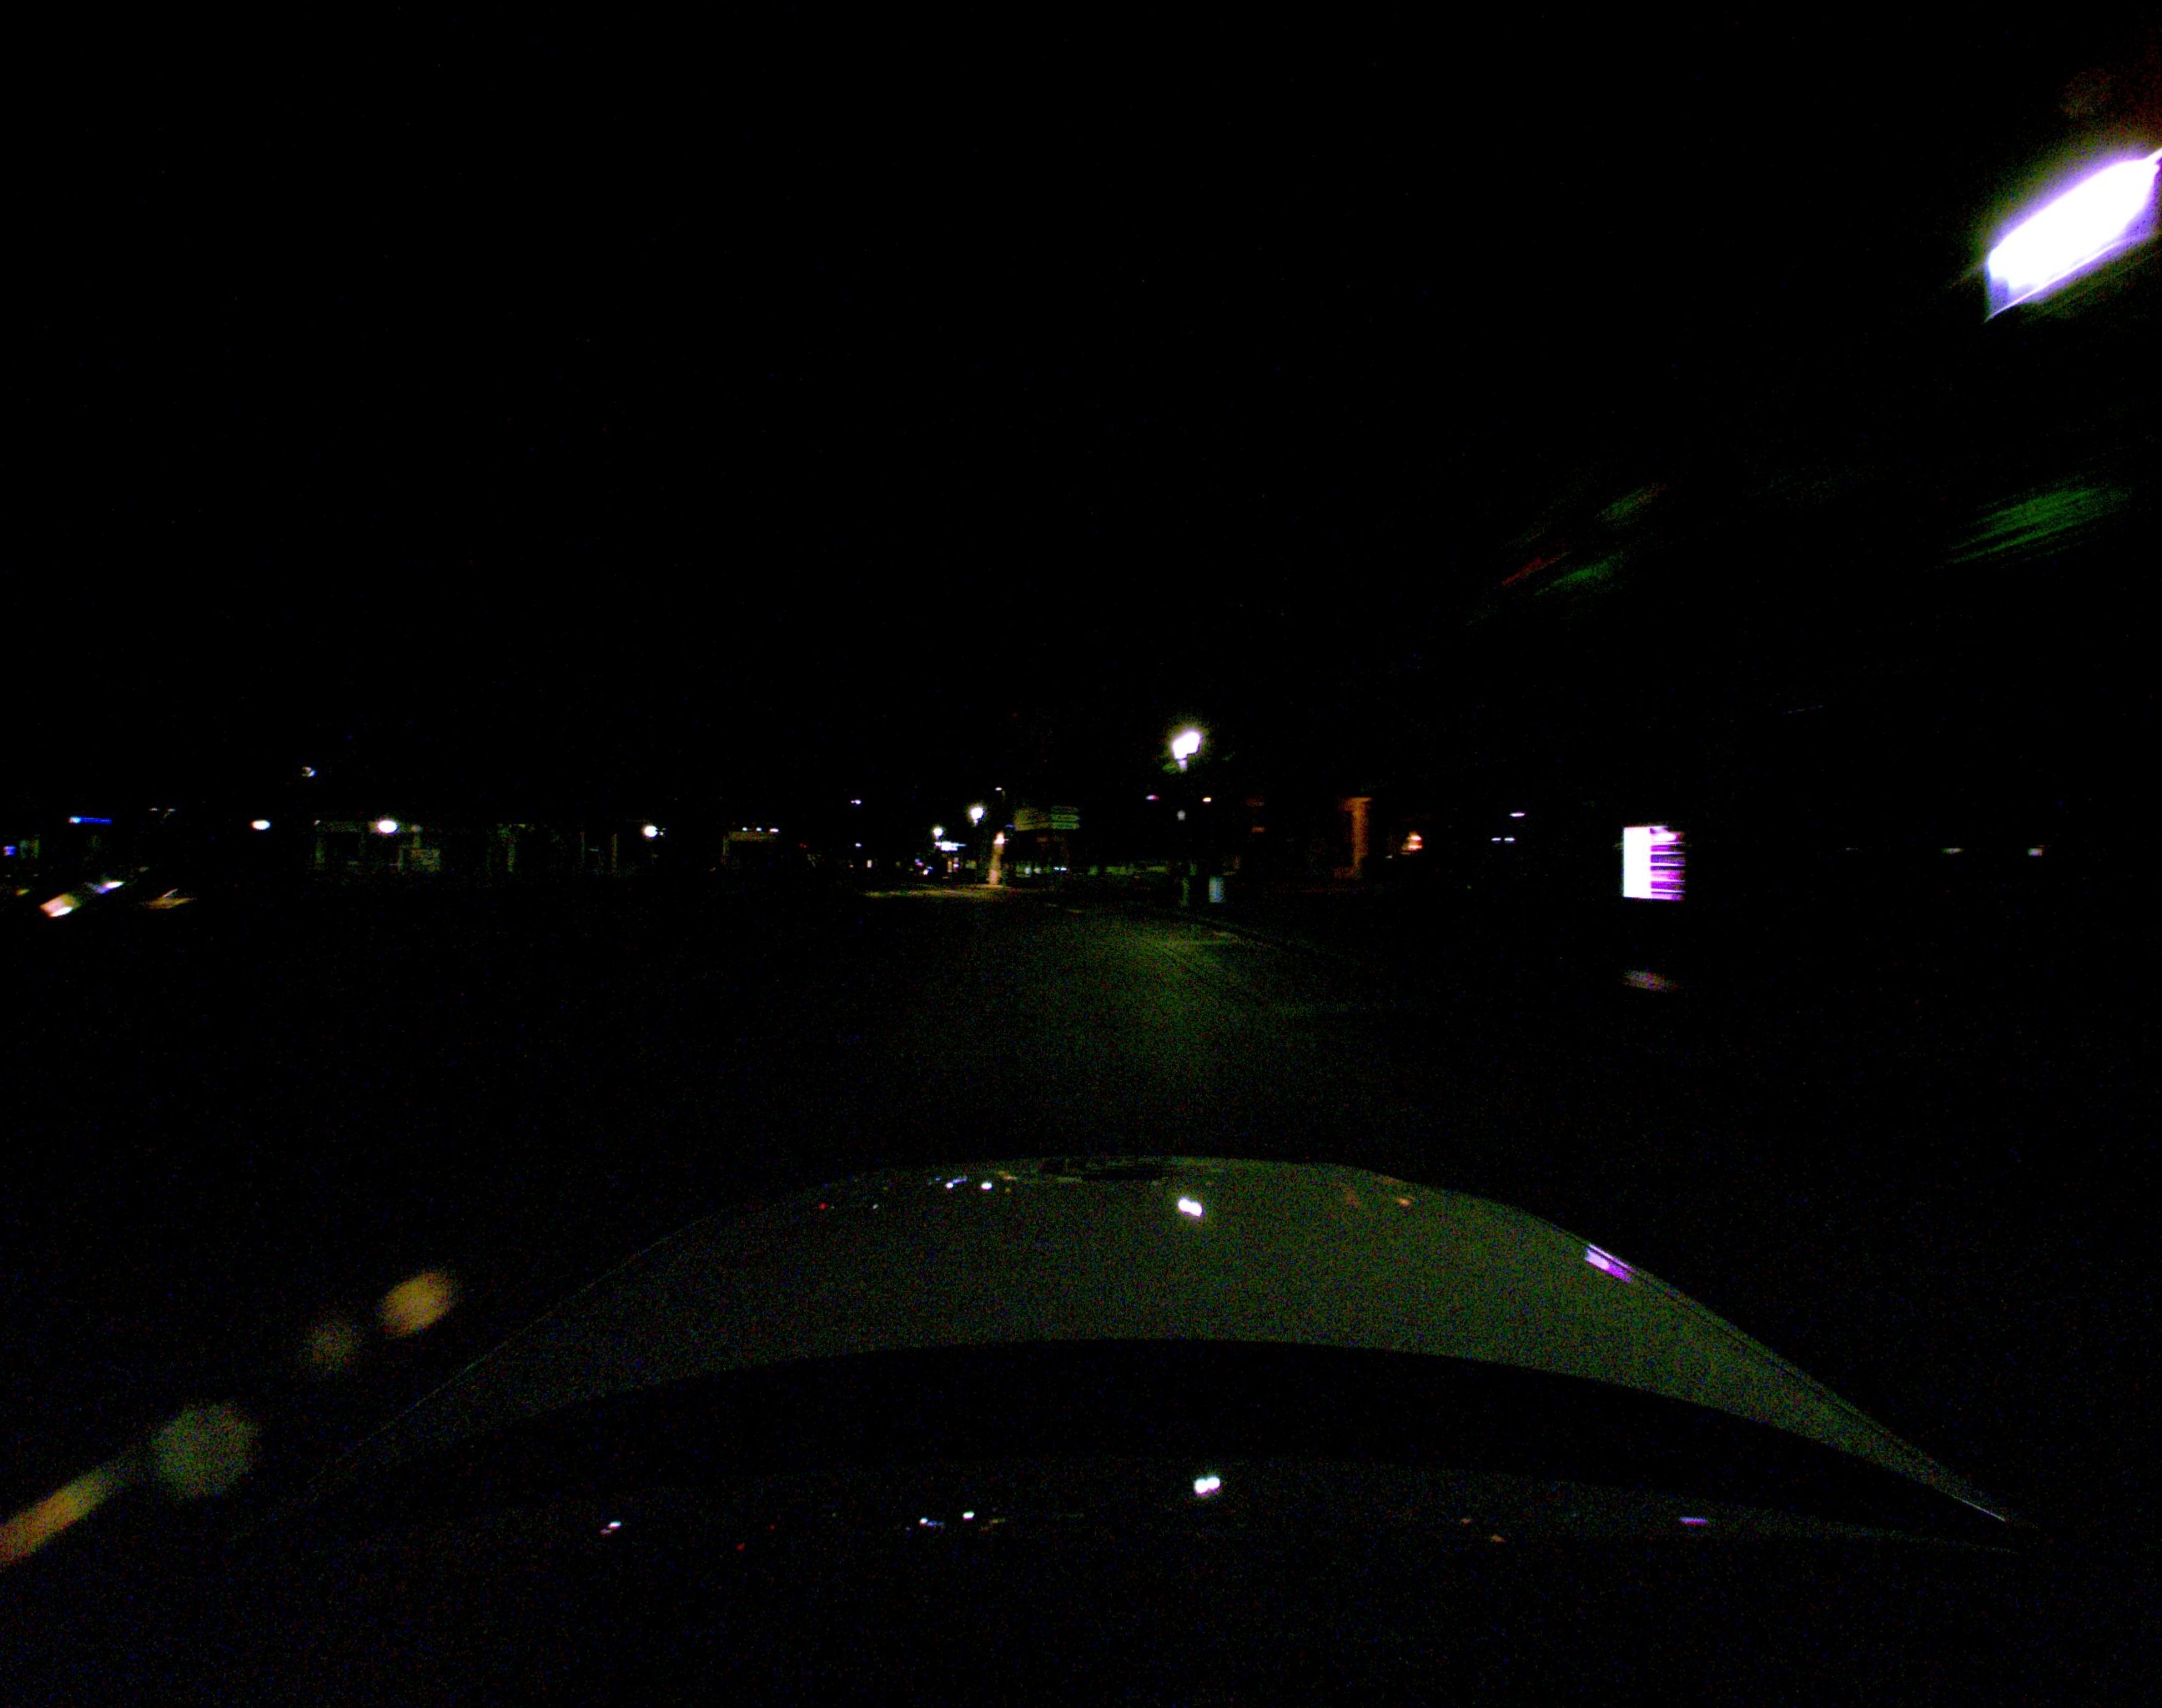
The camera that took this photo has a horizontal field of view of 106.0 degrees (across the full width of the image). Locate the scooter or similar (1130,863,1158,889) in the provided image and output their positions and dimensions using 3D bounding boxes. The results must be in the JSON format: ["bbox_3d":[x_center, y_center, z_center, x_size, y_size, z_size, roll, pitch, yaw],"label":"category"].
[{"bbox_3d":[3.022,1.049,39.304,1.246,1.227,0.596,1,1,-10],"label":"scooter or similar"}]

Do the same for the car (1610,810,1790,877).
[{"bbox_3d":[26.359,-0.405,34.977,2.539,2.647,5.683,1,0,-25],"label":"car"}]

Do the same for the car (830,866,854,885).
[{"bbox_3d":[-20.465,1.842,69.781,1.838,1.453,3.977,-2,-1,-16],"label":"car"}]

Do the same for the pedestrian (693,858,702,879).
[{"bbox_3d":[-28.973,1.074,61.548,0.530,1.546,0.507,-2,1,-25],"label":"pedestrian"}]

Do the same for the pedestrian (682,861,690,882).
[{"bbox_3d":[-29.787,1.345,61.474,0.460,1.546,0.478,-2,0,-23],"label":"pedestrian"}]

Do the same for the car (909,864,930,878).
[{"bbox_3d":[-18.045,1.856,90.889,1.838,1.358,3.977,-2,1,-17],"label":"car"}]

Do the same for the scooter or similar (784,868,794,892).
[{"bbox_3d":[-16.475,1.466,45.949,0.431,1.284,1.140,-2,1,-16],"label":"scooter or similar"}]

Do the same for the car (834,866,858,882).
[{"bbox_3d":[-23.056,1.957,79.871,1.842,1.453,3.970,-2,1,-23],"label":"car"}]
